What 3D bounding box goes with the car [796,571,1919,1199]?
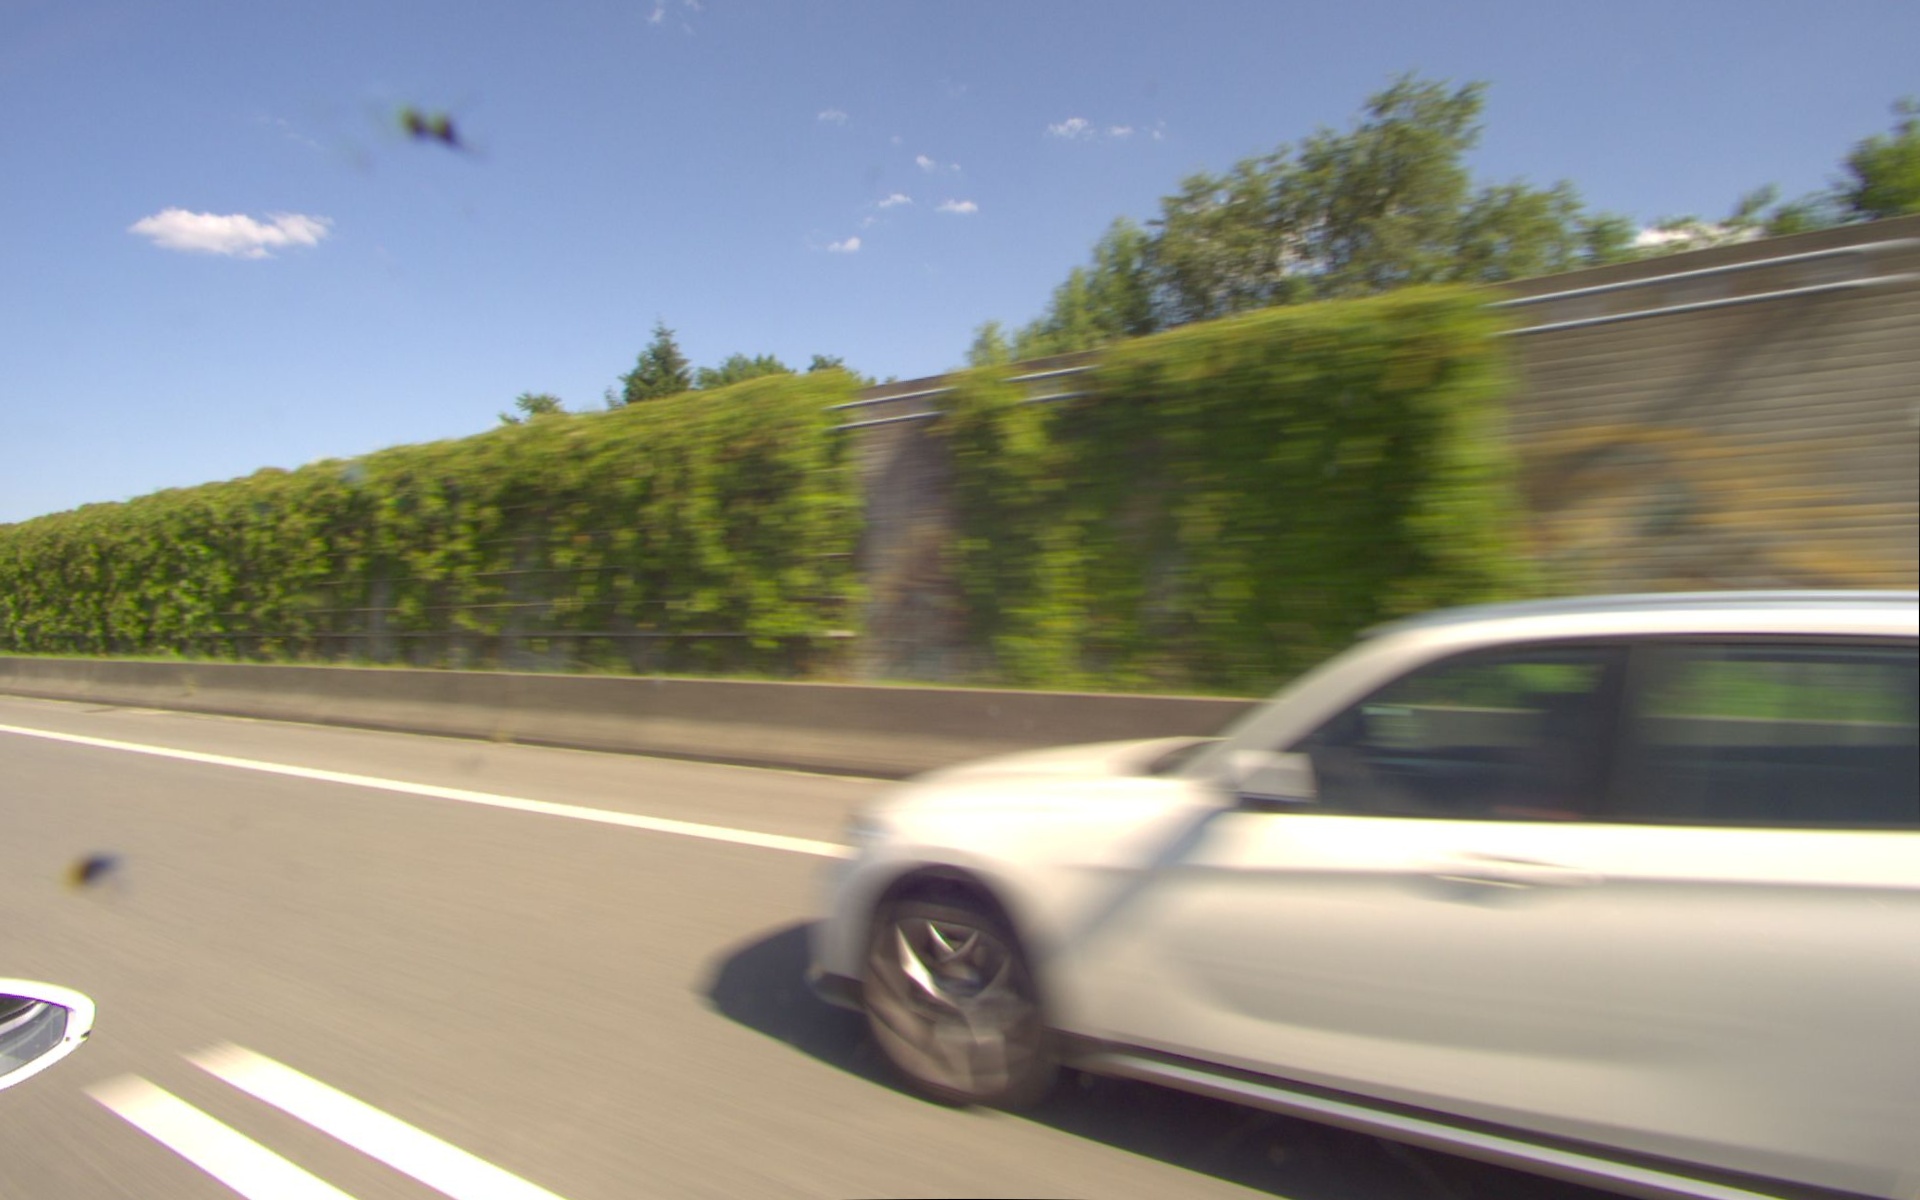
[{"bbox_3d":[1.964,0.714,2.739,4.915,1.515,1.681,0,0,33],"label":"car"}]
